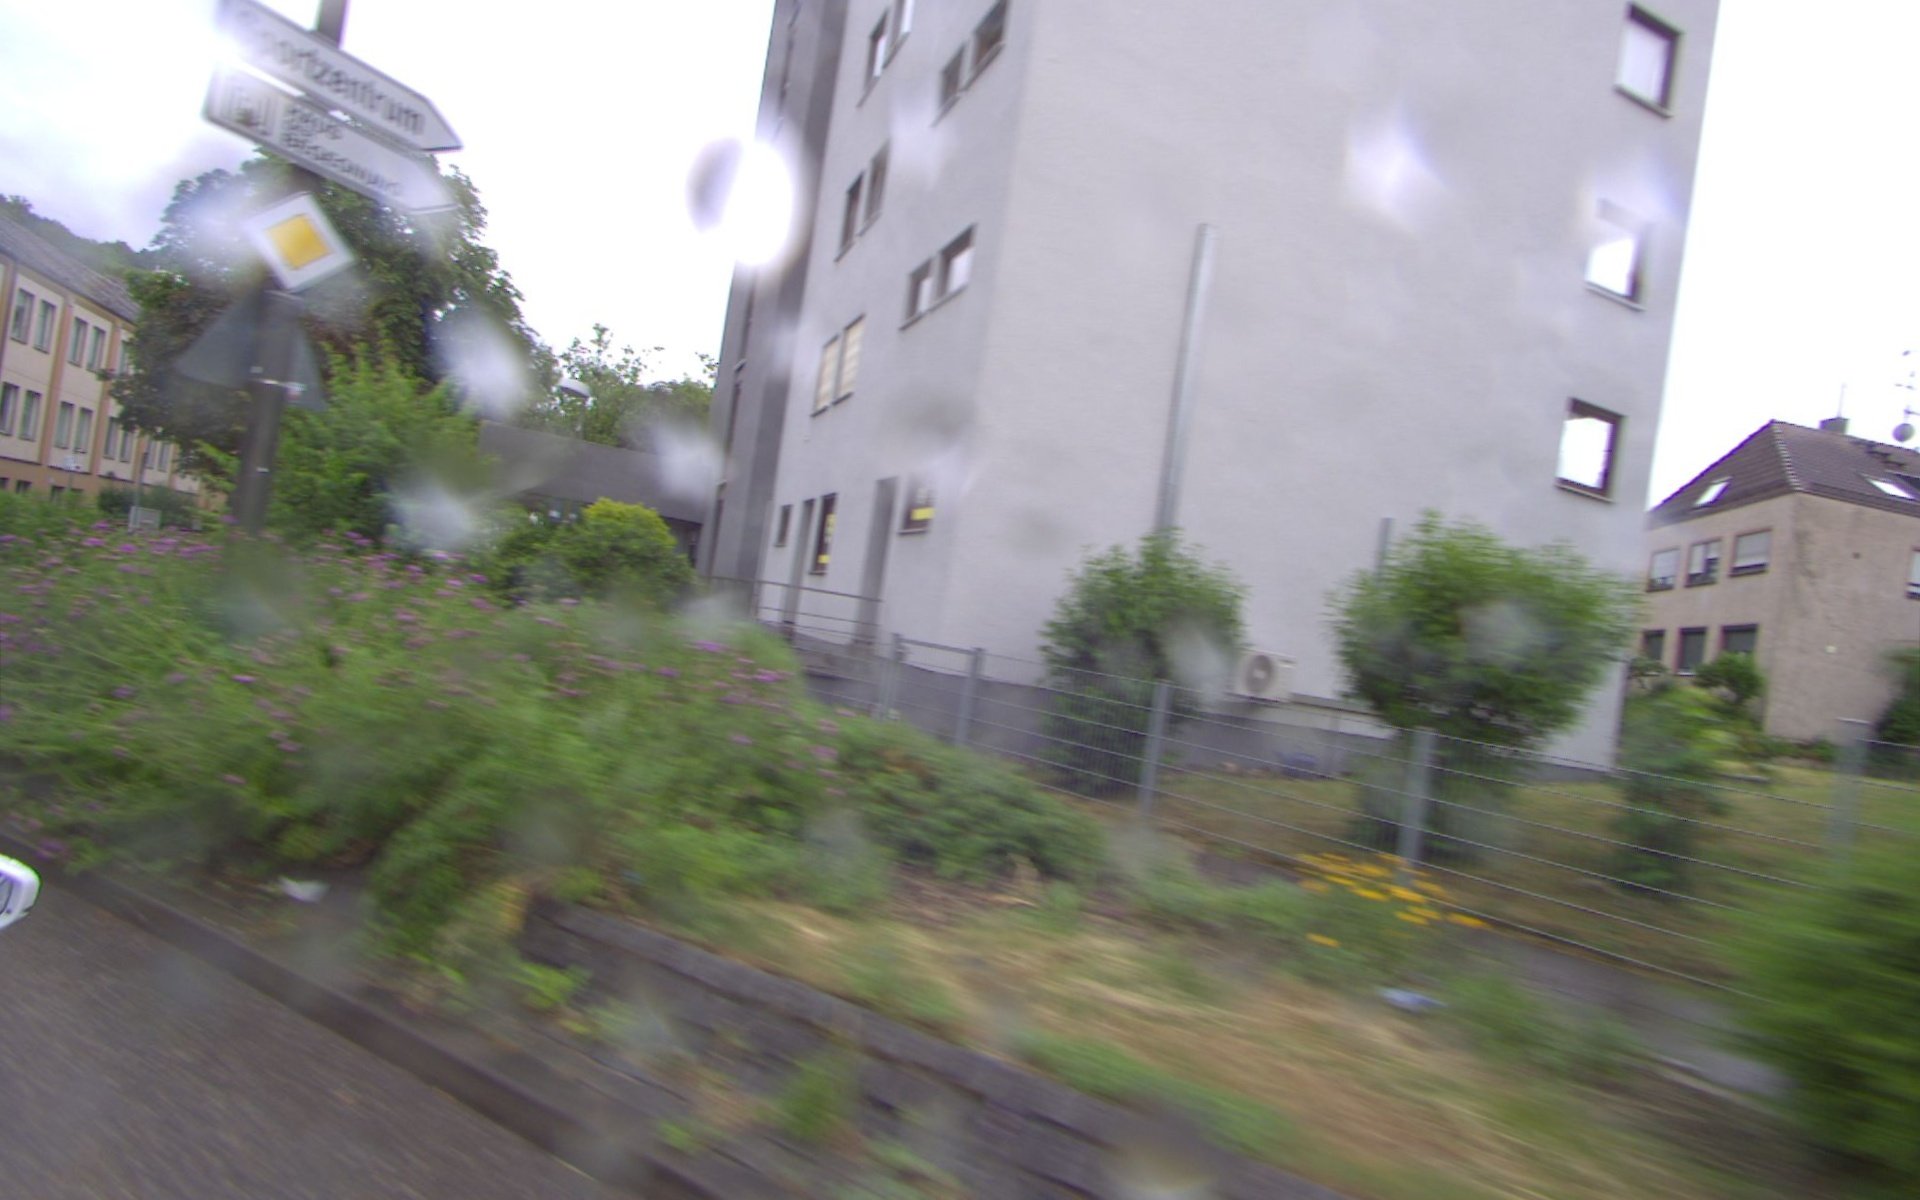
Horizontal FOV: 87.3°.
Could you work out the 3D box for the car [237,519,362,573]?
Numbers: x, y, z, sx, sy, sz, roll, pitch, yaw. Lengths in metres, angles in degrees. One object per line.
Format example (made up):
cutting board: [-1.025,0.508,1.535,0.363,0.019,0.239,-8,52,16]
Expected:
car: [-26.919,-2.172,41.152,3.854,1.592,1.710,8,-1,-23]

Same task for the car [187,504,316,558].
car: [-30.545,-2.953,43.481,4.383,1.592,1.702,8,-1,-37]

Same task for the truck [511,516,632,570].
truck: [-21.575,-3.188,55.776,6.570,2.303,2.304,6,0,27]
